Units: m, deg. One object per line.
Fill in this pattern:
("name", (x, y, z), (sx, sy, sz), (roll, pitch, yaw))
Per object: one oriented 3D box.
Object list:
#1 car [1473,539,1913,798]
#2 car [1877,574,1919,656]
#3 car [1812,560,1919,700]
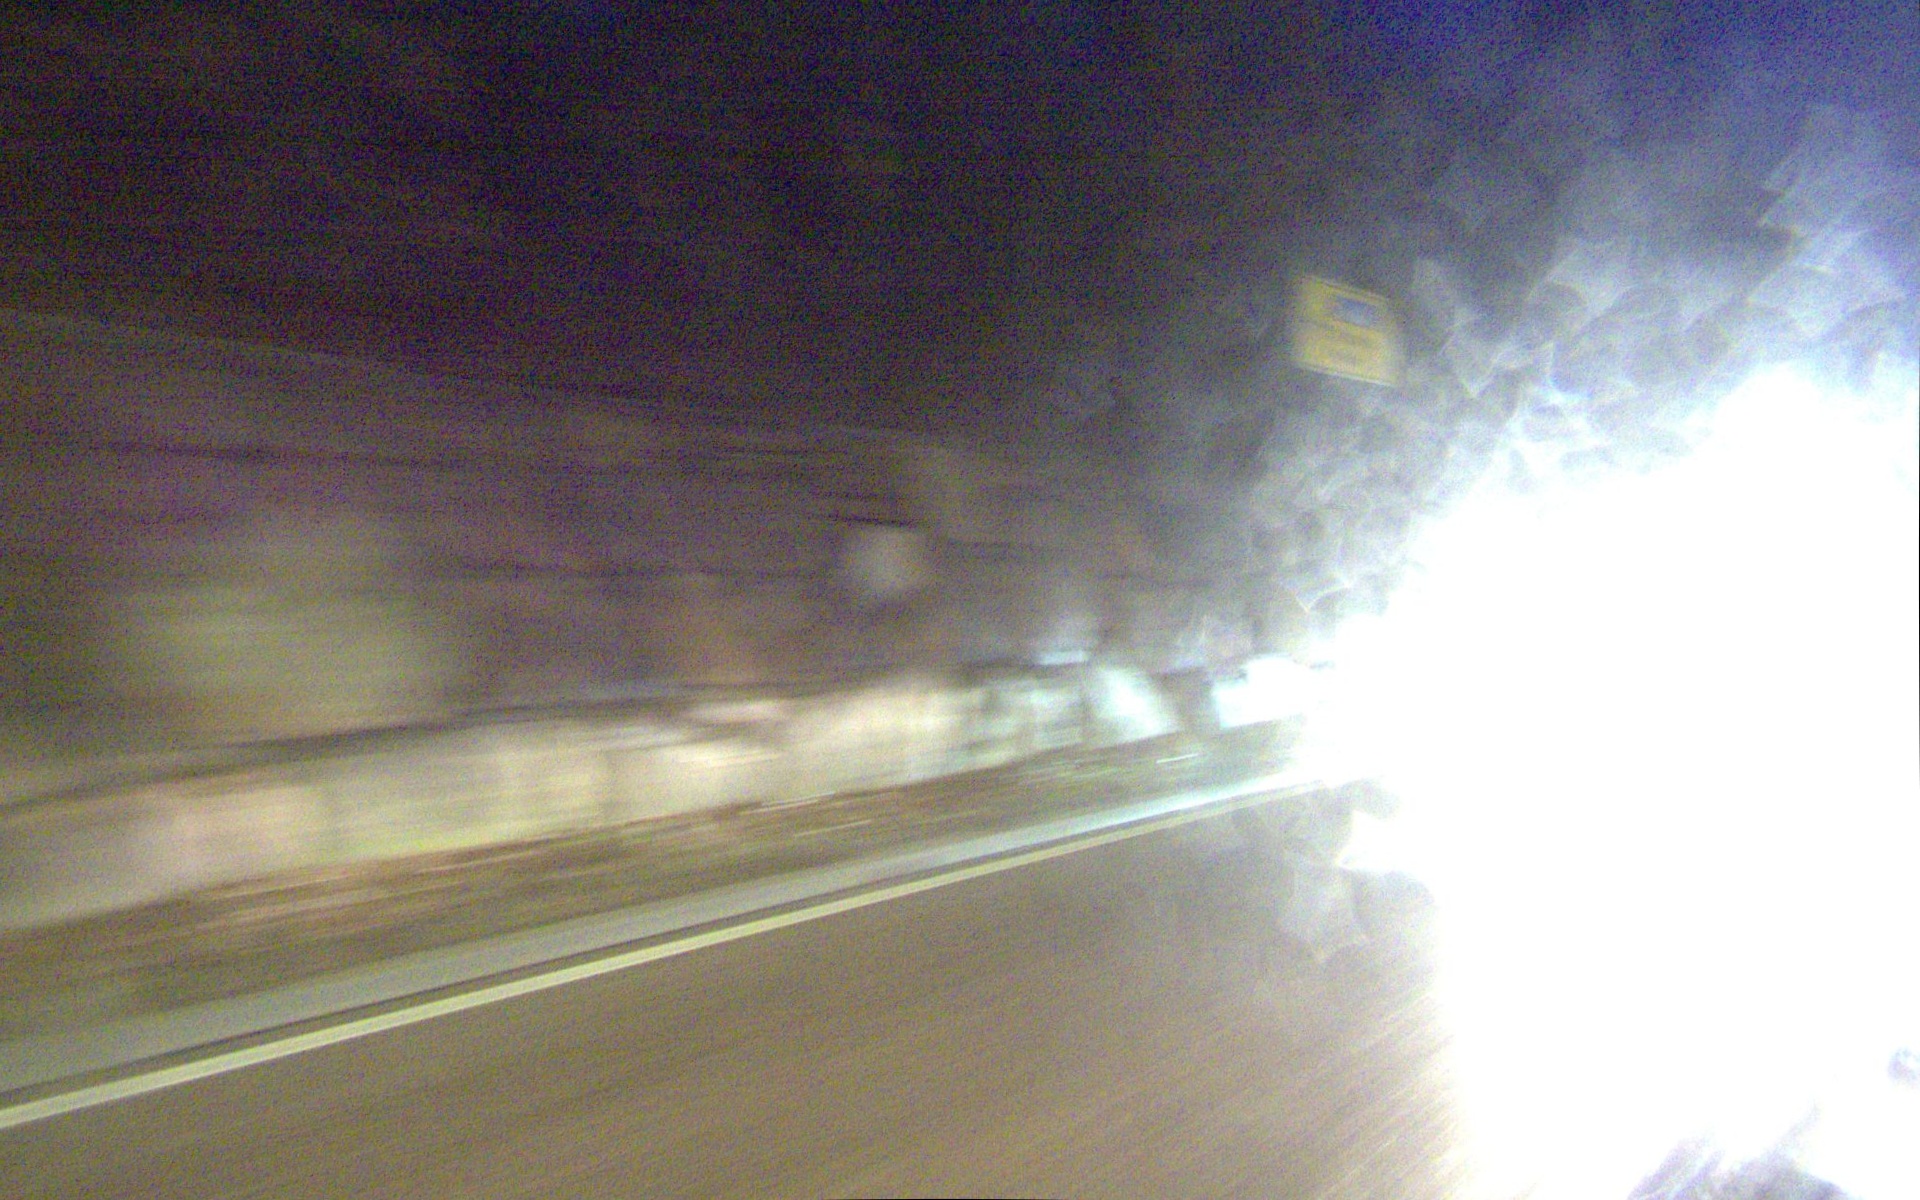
("car", (6.370, 0.382, 8.557), (4.802, 1.608, 1.877), (-1, 0, -40))
("car", (20.540, 0.242, 20.561), (4.607, 1.572, 1.999), (-1, 0, -37))
("car", (14.056, 0.353, 14.748), (4.124, 1.835, 1.793), (-1, 0, -40))
